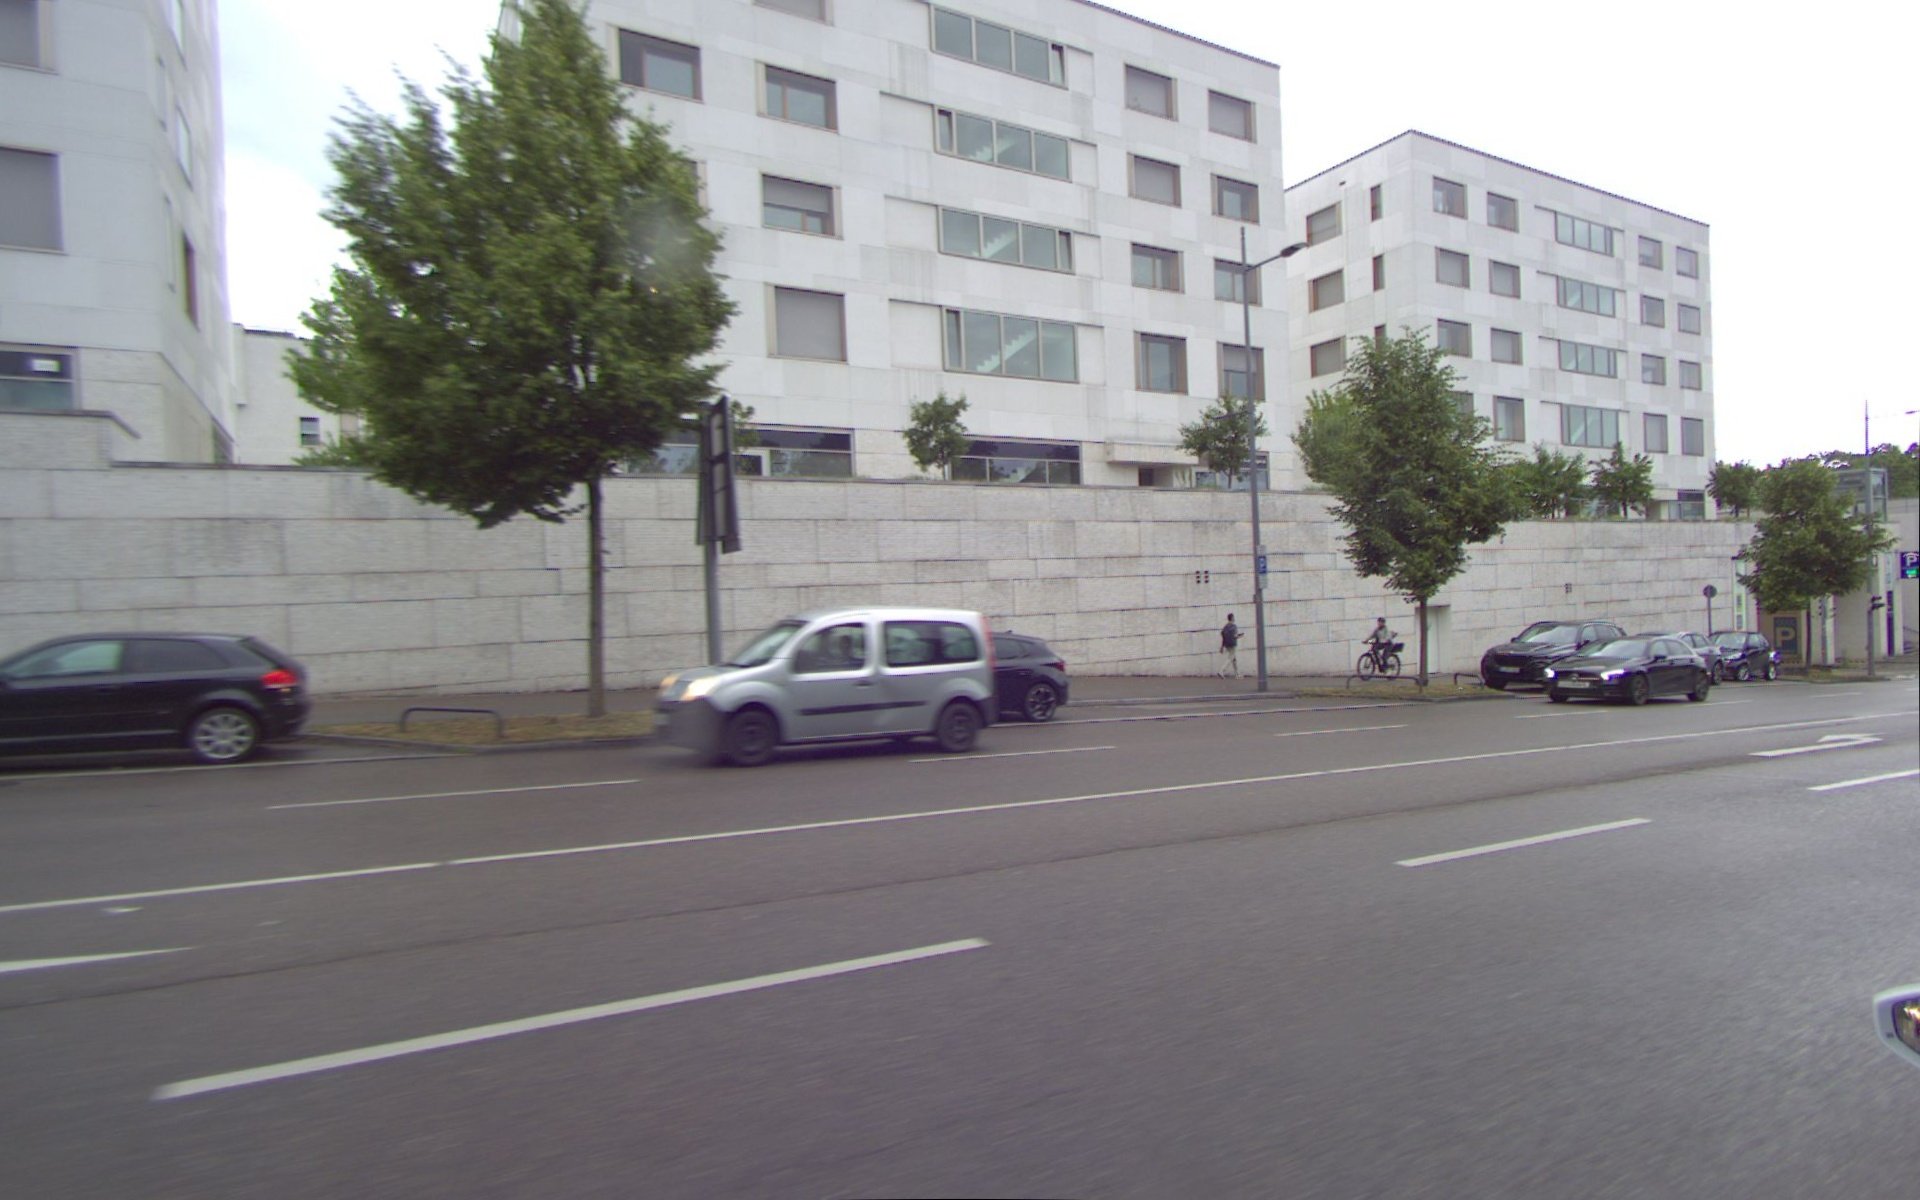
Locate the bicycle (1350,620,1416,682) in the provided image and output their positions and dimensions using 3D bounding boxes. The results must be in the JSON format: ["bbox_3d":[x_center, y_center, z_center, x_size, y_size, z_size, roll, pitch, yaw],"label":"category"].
[{"bbox_3d":[11.989,1.429,28.449,1.858,1.679,0.739,1,0,-30],"label":"bicycle"}]

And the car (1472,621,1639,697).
[{"bbox_3d":[15.437,1.459,25.984,4.545,1.804,1.847,1,-1,-32],"label":"car"}]

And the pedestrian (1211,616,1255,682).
[{"bbox_3d":[7.631,1.350,28.084,1.009,1.798,0.704,1,-1,-31],"label":"pedestrian"}]

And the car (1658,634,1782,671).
[{"bbox_3d":[37.248,2.533,49.328,1.906,1.694,4.479,2,-2,-31],"label":"car"}]

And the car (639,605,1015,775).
[{"bbox_3d":[-1.557,0.985,12.356,4.289,1.769,1.701,1,-1,-32],"label":"car"}]

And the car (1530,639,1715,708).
[{"bbox_3d":[14.642,1.565,22.161,4.141,1.399,1.762,1,-3,-31],"label":"car"}]

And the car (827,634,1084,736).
[{"bbox_3d":[-0.039,1.311,16.513,3.918,1.445,1.671,1,0,-30],"label":"car"}]

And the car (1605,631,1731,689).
[{"bbox_3d":[20.637,1.710,29.262,3.667,1.535,1.671,1,0,-31],"label":"car"}]

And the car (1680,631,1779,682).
[{"bbox_3d":[24.833,1.778,32.412,2.945,1.535,1.501,1,0,-30],"label":"car"}]

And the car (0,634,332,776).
[{"bbox_3d":[-9.395,1.086,11.057,4.113,1.378,1.687,1,-1,-30],"label":"car"}]

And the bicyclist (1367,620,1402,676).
[{"bbox_3d":[12.026,1.351,28.460,0.760,1.538,0.574,1,-1,-30],"label":"bicyclist"}]
